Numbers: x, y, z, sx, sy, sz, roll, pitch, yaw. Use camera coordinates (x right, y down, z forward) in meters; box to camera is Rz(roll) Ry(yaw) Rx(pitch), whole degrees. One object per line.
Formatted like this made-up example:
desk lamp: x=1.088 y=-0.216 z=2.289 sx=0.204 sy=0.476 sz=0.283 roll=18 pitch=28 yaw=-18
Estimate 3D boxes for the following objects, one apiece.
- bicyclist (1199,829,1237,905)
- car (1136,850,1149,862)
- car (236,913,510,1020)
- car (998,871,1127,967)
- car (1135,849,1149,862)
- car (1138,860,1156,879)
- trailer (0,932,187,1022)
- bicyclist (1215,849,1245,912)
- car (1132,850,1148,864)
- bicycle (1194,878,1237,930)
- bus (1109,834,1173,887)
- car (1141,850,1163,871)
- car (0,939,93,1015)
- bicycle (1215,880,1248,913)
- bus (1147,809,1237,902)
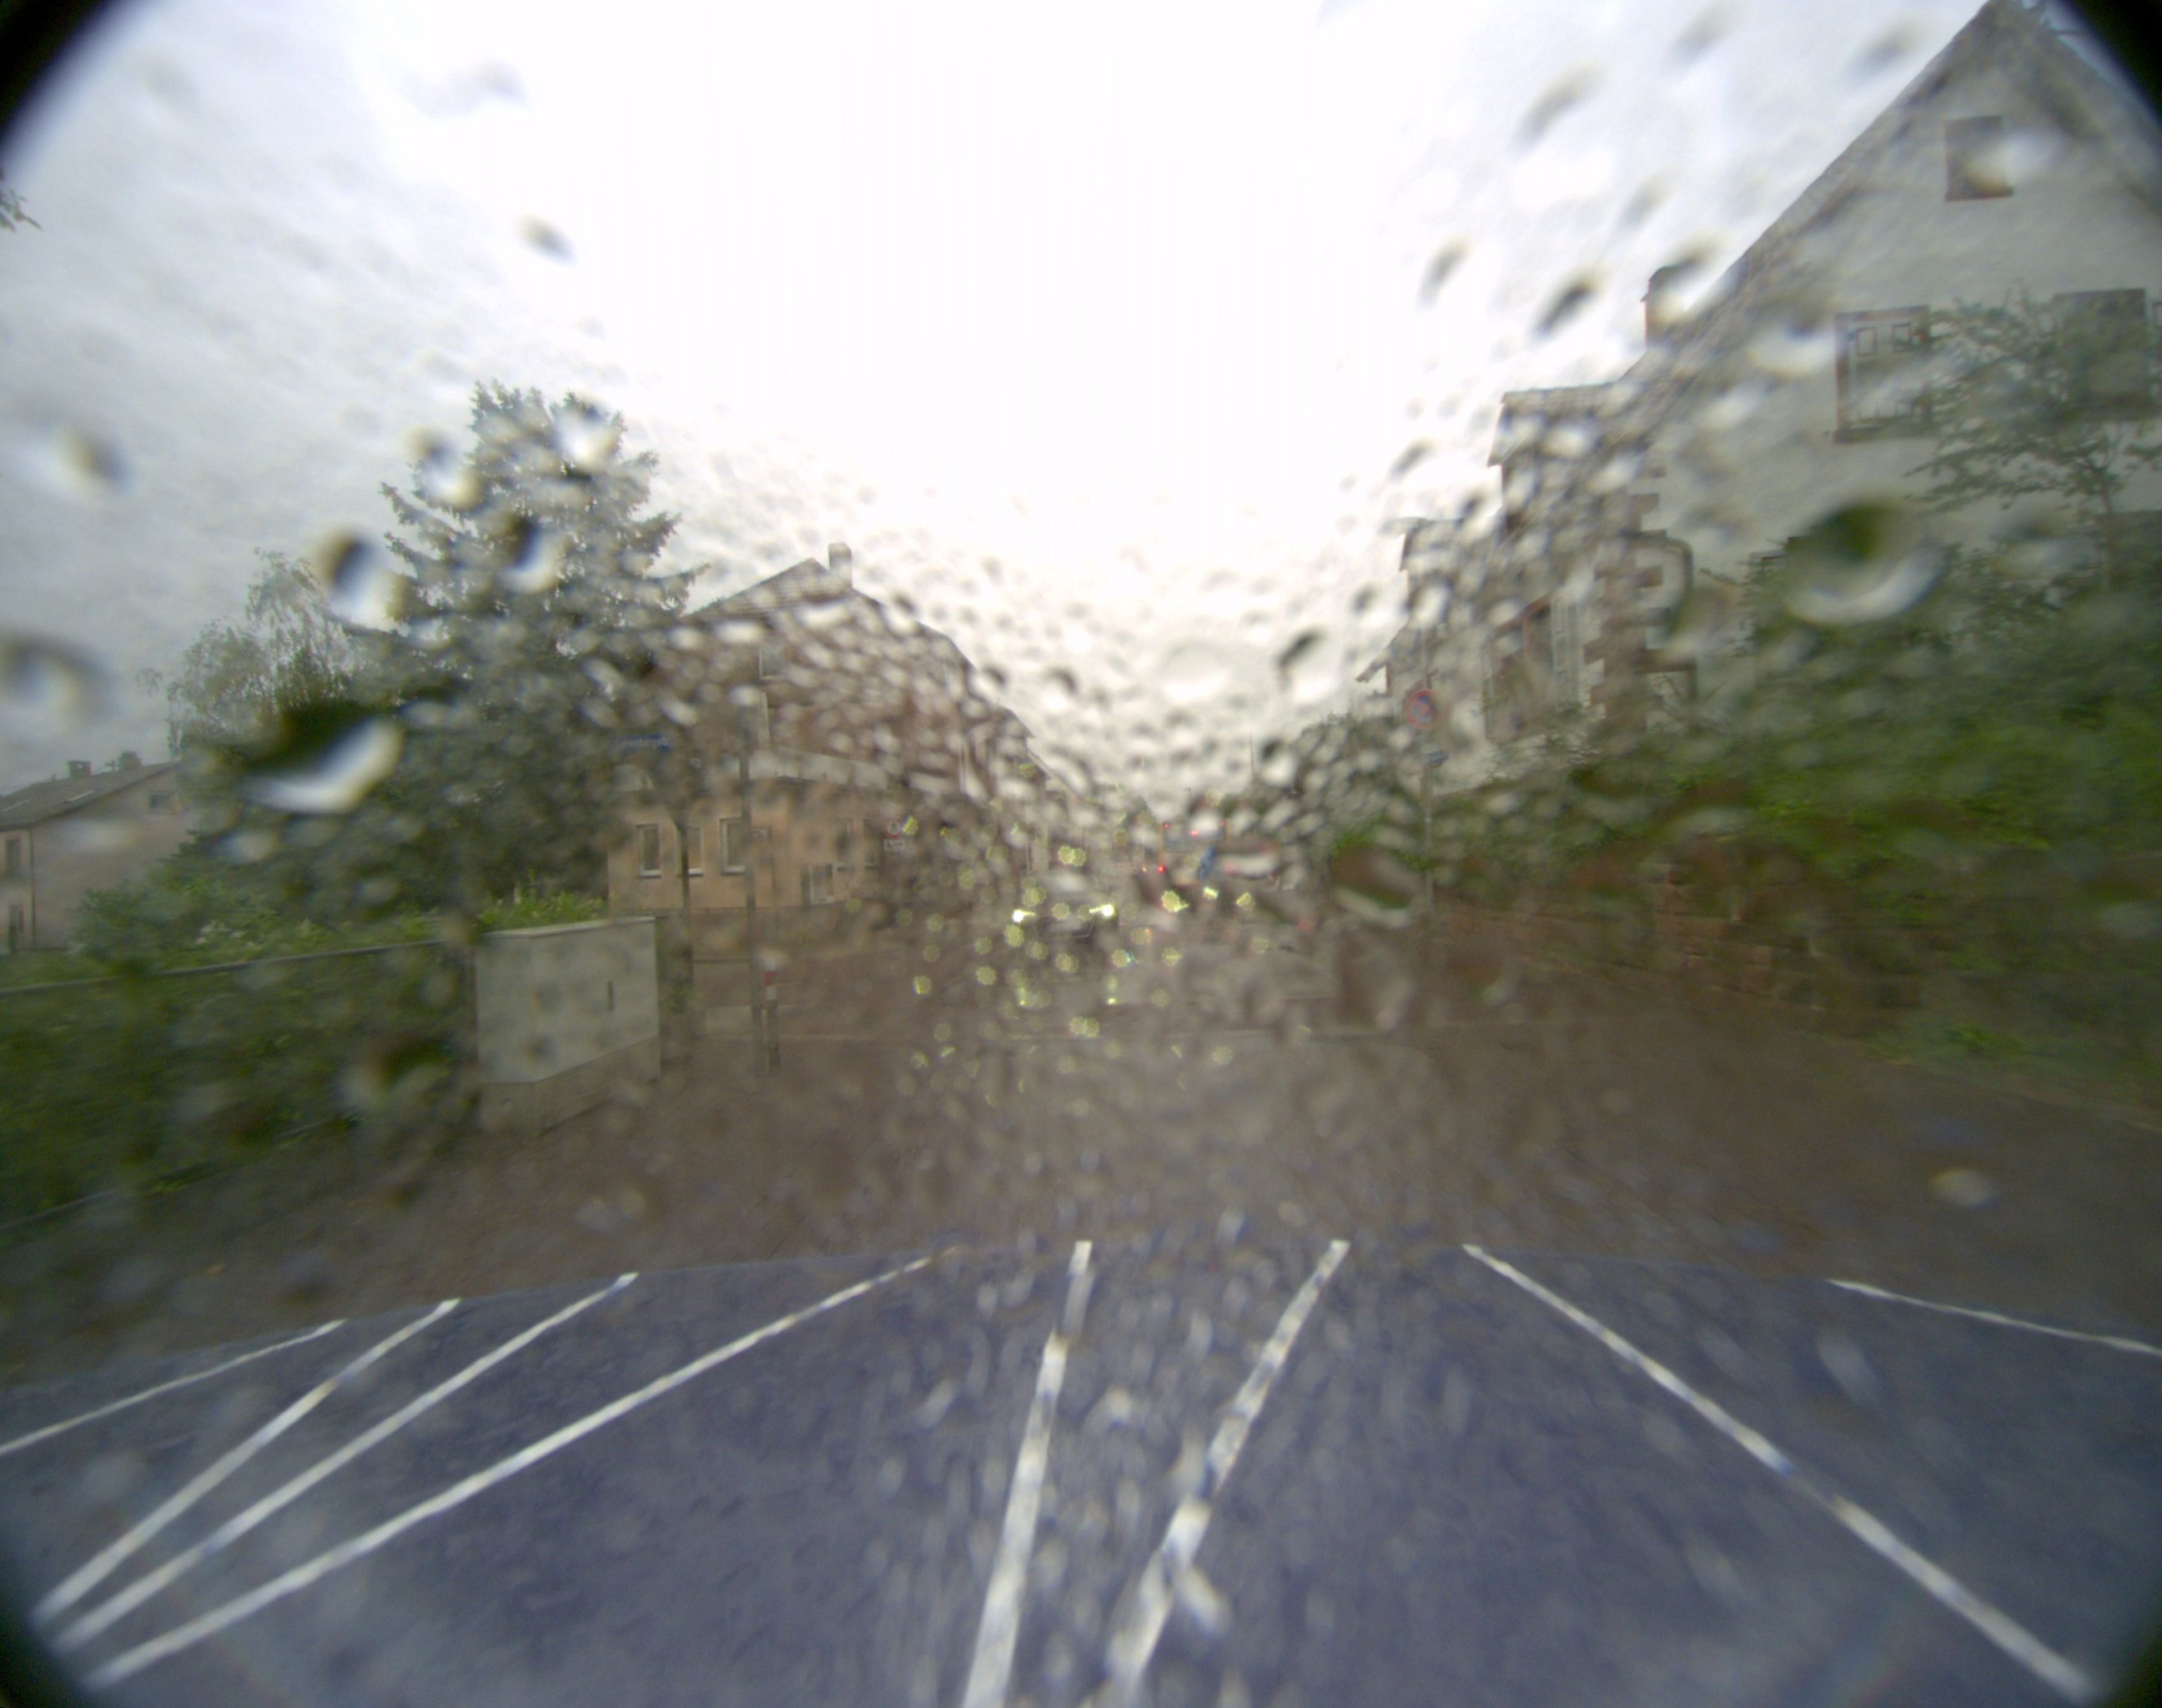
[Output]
bicyclist: x=3.164 y=0.293 z=17.616 sx=0.689 sy=1.703 sz=0.703 roll=-4 pitch=1 yaw=4
car: x=9.403 y=0.311 z=116.055 sx=1.779 sy=1.602 sz=4.189 roll=-4 pitch=1 yaw=5
car: x=-12.168 y=1.911 z=13.091 sx=3.992 sy=1.462 sz=1.795 roll=-4 pitch=0 yaw=21
car: x=-0.163 y=1.053 z=13.790 sx=1.779 sy=1.348 sz=4.190 roll=-4 pitch=-1 yaw=5
car: x=8.611 y=0.140 z=106.885 sx=1.779 sy=1.602 sz=4.189 roll=-5 pitch=1 yaw=5
car: x=7.099 y=1.606 z=82.160 sx=1.779 sy=1.787 sz=4.189 roll=-4 pitch=1 yaw=5
trailer: x=-22.645 y=2.739 z=17.037 sx=4.538 sy=1.558 sz=2.006 roll=-5 pitch=0 yaw=23
bicyclist: x=4.315 y=0.768 z=21.999 sx=0.658 sy=1.759 sz=0.704 roll=-4 pitch=-1 yaw=4
car: x=7.487 y=0.389 z=96.040 sx=1.779 sy=1.601 sz=4.189 roll=-4 pitch=0 yaw=5
bicycle: x=3.059 y=1.106 z=17.505 sx=0.682 sy=1.044 sz=2.340 roll=-4 pitch=-1 yaw=4
bus: x=4.814 y=0.333 z=57.637 sx=3.438 sy=3.392 sz=13.879 roll=-3 pitch=0 yaw=10
car: x=6.494 y=0.564 z=69.512 sx=1.779 sy=1.787 sz=4.189 roll=-4 pitch=1 yaw=5
car: x=-26.785 y=3.074 z=18.573 sx=4.088 sy=1.561 sz=2.002 roll=-4 pitch=1 yaw=20
bicycle: x=4.342 y=1.196 z=21.972 sx=0.662 sy=0.865 sz=1.936 roll=-4 pitch=-2 yaw=4
bus: x=4.585 y=0.029 z=31.328 sx=2.812 sy=2.921 sz=11.948 roll=-4 pitch=0 yaw=8
